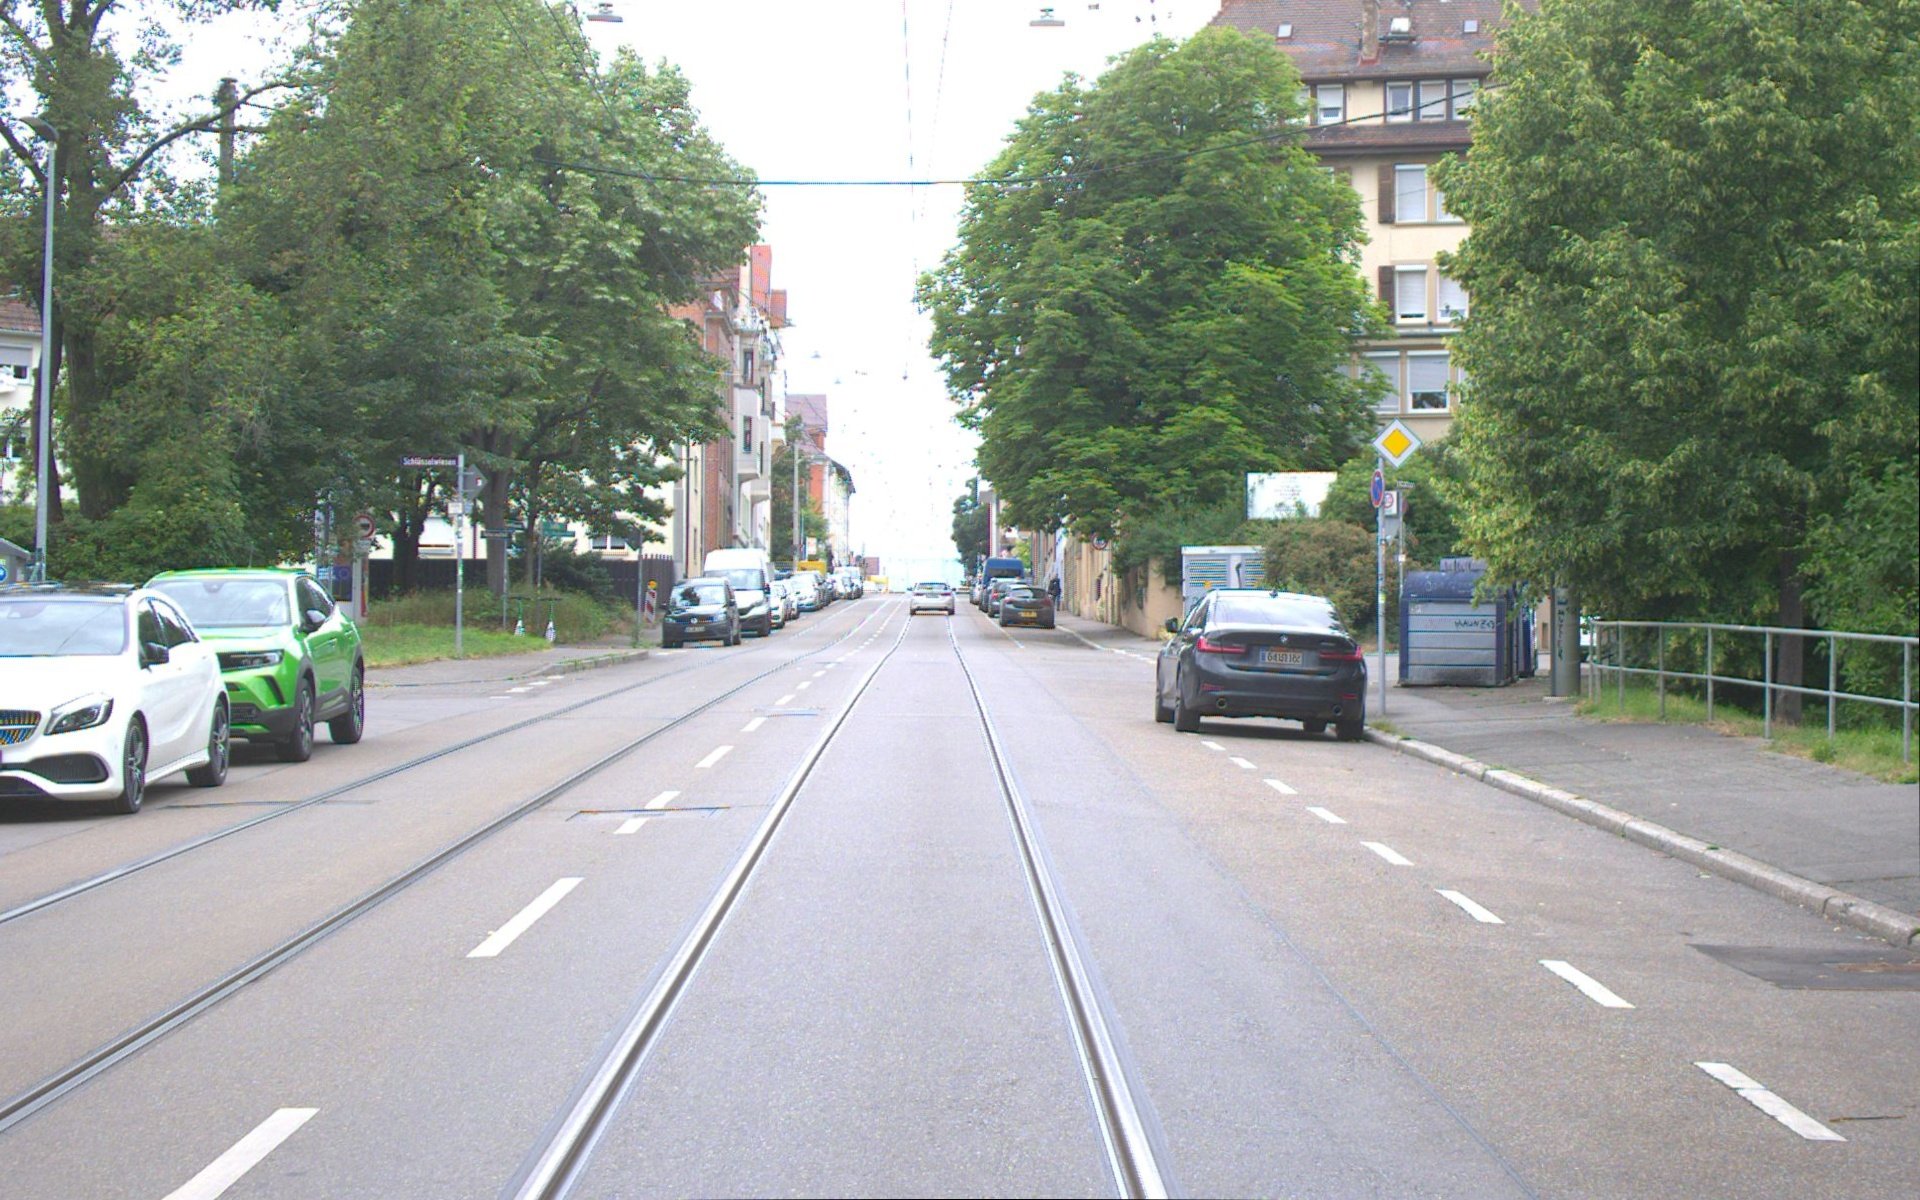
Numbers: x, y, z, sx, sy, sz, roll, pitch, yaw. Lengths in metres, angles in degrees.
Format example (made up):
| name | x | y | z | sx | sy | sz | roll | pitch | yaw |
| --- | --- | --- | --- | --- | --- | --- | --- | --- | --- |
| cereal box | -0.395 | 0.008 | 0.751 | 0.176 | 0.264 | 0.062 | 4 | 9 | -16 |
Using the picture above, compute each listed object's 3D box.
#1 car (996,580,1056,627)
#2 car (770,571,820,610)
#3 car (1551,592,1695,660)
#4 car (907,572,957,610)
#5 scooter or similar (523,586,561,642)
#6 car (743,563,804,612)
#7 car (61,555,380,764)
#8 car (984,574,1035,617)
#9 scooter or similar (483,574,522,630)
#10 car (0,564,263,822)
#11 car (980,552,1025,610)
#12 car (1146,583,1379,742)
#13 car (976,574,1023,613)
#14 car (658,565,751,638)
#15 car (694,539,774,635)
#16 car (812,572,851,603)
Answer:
| name | x | y | z | sx | sy | sz | roll | pitch | yaw |
| --- | --- | --- | --- | --- | --- | --- | --- | --- | --- |
| car | 2.267 | 0.128 | 117.978 | 1.993 | 1.525 | 4.312 | 1 | 0 | 1 |
| car | -7.037 | -0.381 | 147.279 | 1.924 | 1.596 | 4.000 | 1 | 0 | 0 |
| car | 15.278 | 0.612 | 79.073 | 1.997 | 1.474 | 4.457 | 1 | 0 | 28 |
| car | -1.160 | -0.354 | 141.988 | 1.993 | 1.493 | 4.312 | 1 | 0 | -1 |
| scooter or similar | -10.214 | 0.347 | 84.051 | 0.691 | 1.334 | 1.639 | 1 | 0 | 1 |
| car | -7.060 | -0.456 | 130.454 | 1.993 | 1.806 | 4.312 | 1 | 0 | 1 |
| car | -5.983 | 0.439 | 28.273 | 1.723 | 1.574 | 4.181 | 0 | 0 | 0 |
| car | 1.971 | -0.171 | 138.850 | 1.993 | 1.711 | 4.000 | 0 | 0 | 0 |
| scooter or similar | -11.200 | 0.050 | 84.152 | 0.691 | 1.334 | 1.639 | 1 | 0 | 1 |
| car | -6.004 | 0.553 | 22.688 | 1.885 | 1.521 | 4.663 | -1 | 0 | 0 |
| car | 1.908 | -0.859 | 156.646 | 1.993 | 2.566 | 4.704 | 0 | 0 | 0 |
| car | 2.990 | 0.593 | 34.917 | 1.828 | 1.425 | 4.847 | 3 | 0 | -1 |
| car | 1.725 | -0.276 | 151.141 | 1.993 | 1.645 | 4.000 | 0 | 0 | 0 |
| car | -6.584 | 0.053 | 88.949 | 1.993 | 1.802 | 4.000 | 1 | 0 | 1 |
| car | -6.765 | -0.354 | 103.442 | 2.230 | 2.755 | 5.800 | 1 | 0 | -2 |
| car | -6.976 | -0.654 | 186.808 | 1.993 | 1.596 | 4.000 | 1 | 0 | -1 |
